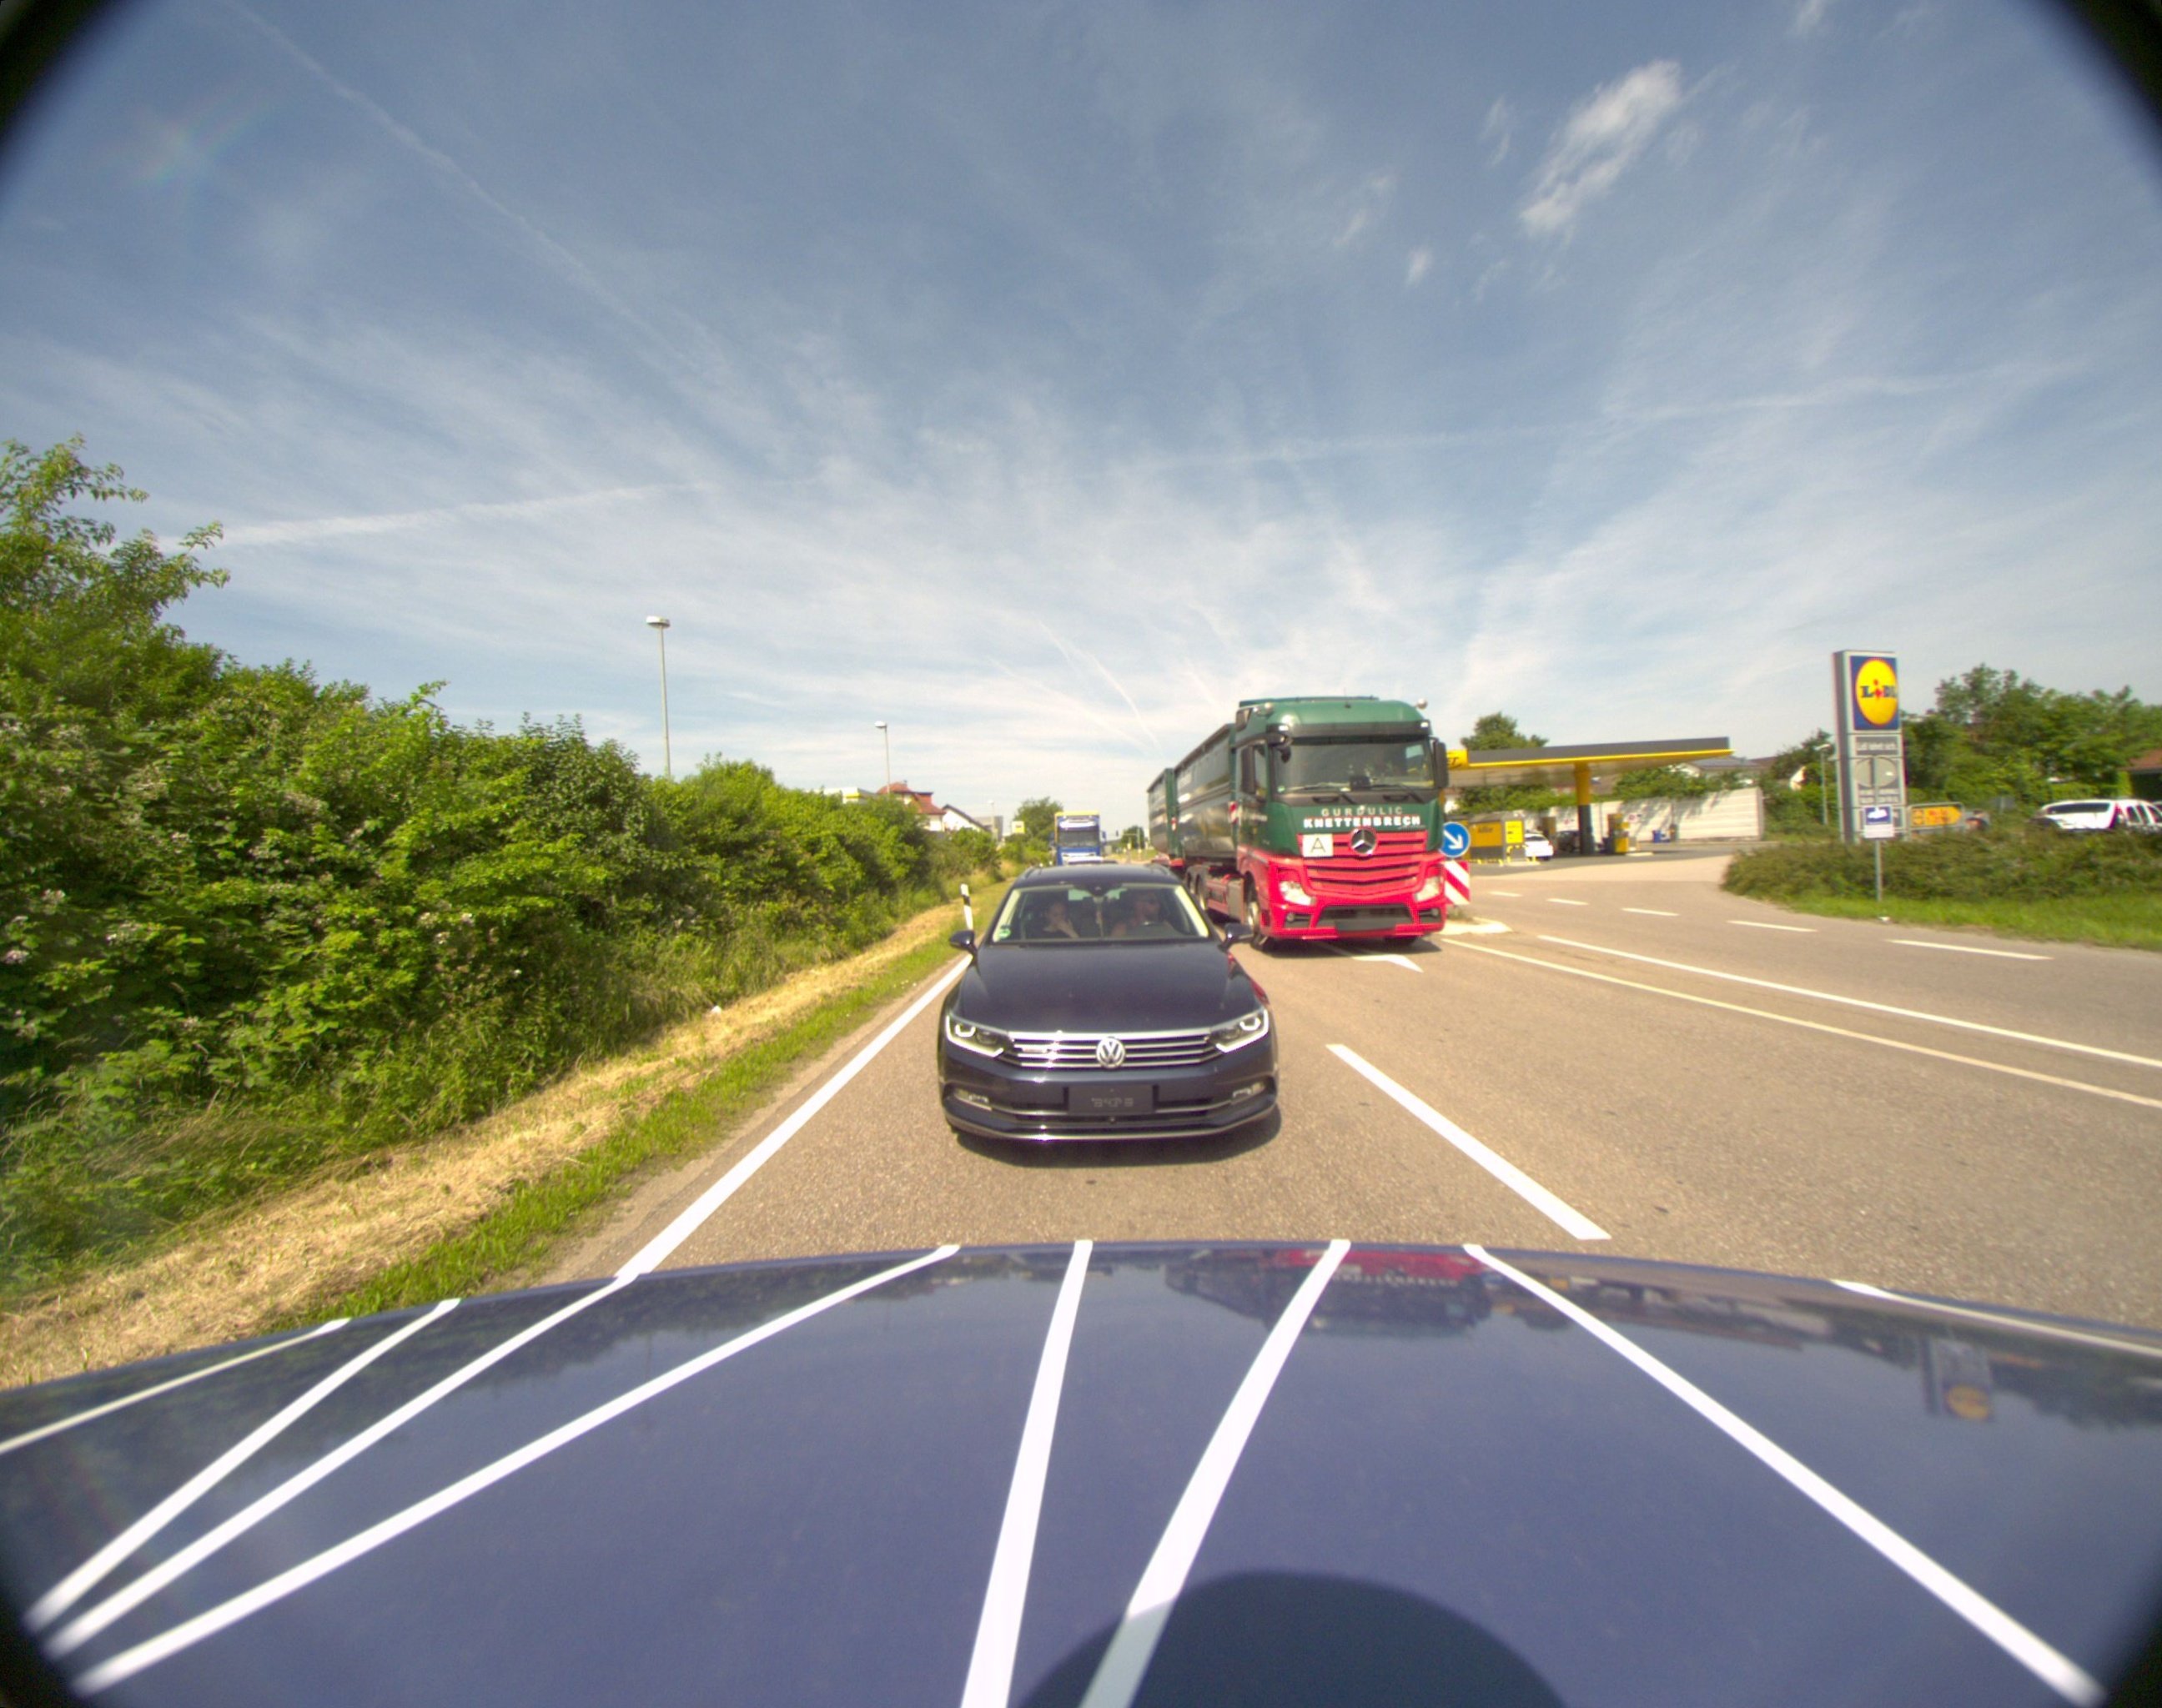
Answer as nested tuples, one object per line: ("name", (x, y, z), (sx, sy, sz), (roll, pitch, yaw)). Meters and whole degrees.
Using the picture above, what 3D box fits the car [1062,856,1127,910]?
("car", (0.416, 0.850, 23.978), (1.814, 1.466, 3.973), (-2, 0, 1))

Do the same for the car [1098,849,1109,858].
("car", (4.063, -0.061, 139.348), (1.819, 1.626, 3.893), (-2, 0, 1))

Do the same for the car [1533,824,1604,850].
("car", (32.195, -1.090, 50.310), (1.753, 1.603, 3.873), (-2, 0, -10))

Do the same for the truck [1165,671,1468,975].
("truck", (3.670, -0.433, 15.036), (2.675, 3.897, 10.048), (-2, 0, 0))

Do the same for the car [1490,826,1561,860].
("car", (24.244, -0.571, 41.613), (1.736, 1.718, 4.001), (-1, 0, 3))

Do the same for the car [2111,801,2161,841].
("car", (44.674, -1.426, 30.758), (3.999, 1.531, 1.769), (-3, 0, -7))

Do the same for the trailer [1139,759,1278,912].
("trailer", (3.689, -0.510, 24.376), (2.809, 3.897, 8.668), (-2, 0, 0))

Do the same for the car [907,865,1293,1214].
("car", (0.126, 0.906, 6.013), (1.756, 1.493, 4.925), (-2, 0, 1))

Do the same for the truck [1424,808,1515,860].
("truck", (23.852, -1.182, 47.005), (2.250, 2.906, 6.282), (-2, 1, -1))

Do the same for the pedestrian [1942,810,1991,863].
("pedestrian", (27.144, -0.524, 23.304), (0.703, 1.566, 0.810), (-1, 0, 26))

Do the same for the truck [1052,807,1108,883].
("truck", (0.032, -0.542, 47.406), (2.855, 3.999, 12.916), (-2, 0, 1))

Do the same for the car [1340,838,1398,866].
("car", (19.039, -0.131, 50.391), (1.999, 1.696, 4.263), (-2, 0, -3))

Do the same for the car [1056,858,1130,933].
("car", (0.272, 0.863, 17.385), (1.471, 1.451, 3.797), (-2, 0, 1))

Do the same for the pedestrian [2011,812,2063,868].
("pedestrian", (27.644, -0.392, 21.972), (0.705, 1.566, 0.807), (-3, 2, -27))

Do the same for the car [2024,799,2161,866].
("car", (30.689, -0.664, 22.801), (4.172, 1.801, 1.877), (-3, 1, -23))
